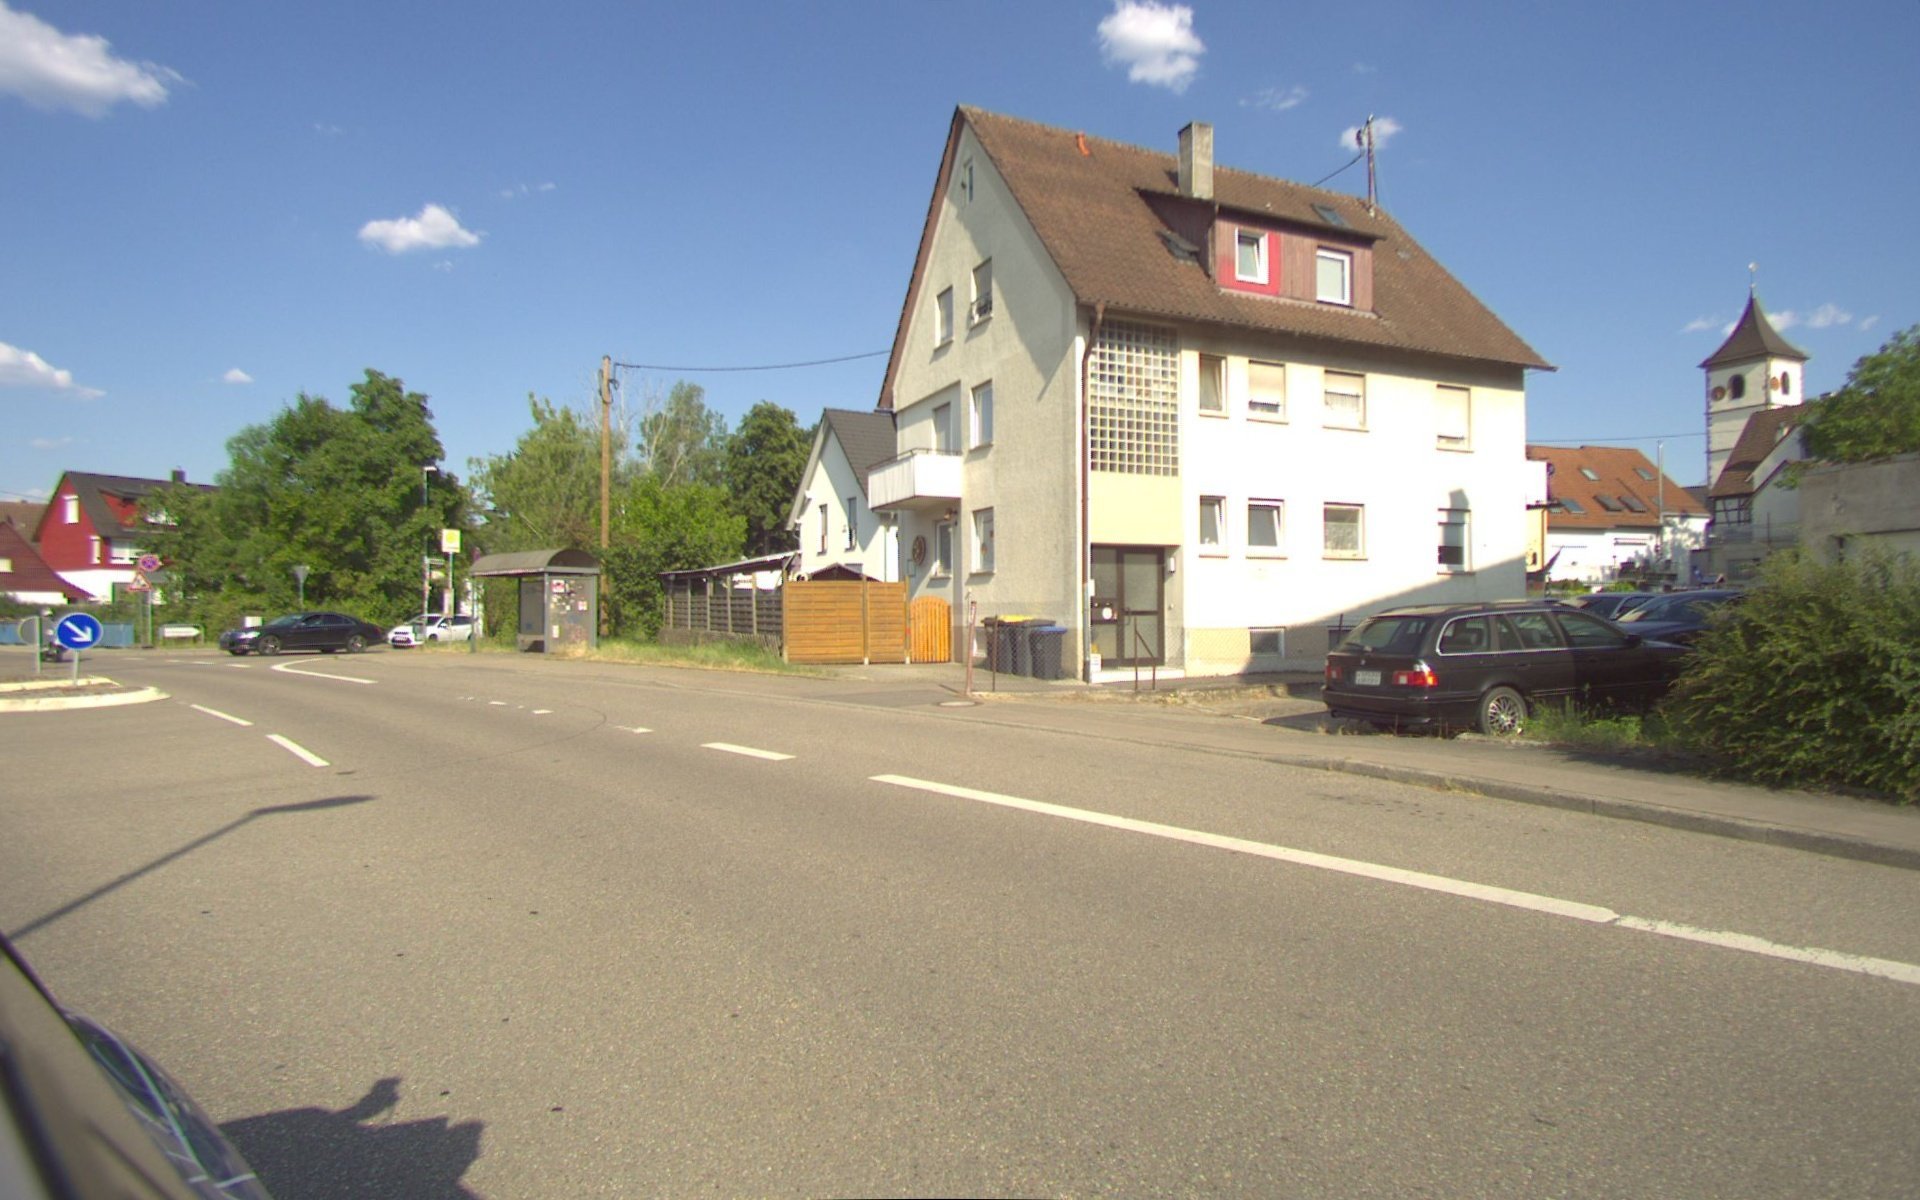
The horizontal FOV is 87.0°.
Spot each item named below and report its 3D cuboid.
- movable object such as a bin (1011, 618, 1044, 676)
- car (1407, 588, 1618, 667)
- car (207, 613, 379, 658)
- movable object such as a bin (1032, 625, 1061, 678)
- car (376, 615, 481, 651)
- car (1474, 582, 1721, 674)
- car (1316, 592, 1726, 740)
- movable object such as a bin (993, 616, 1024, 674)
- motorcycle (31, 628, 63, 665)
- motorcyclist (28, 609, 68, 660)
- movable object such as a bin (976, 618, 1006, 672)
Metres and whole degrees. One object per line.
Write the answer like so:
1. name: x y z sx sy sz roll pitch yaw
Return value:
1. movable object such as a bin: 1.243 0.860 18.619 0.356 1.031 0.579 0 0 -27
2. car: 11.230 0.529 20.572 3.931 1.397 1.554 -2 -1 -21
3. car: -22.979 1.191 35.105 1.761 1.442 4.804 0 -1 25
4. movable object such as a bin: 1.546 0.916 18.172 0.356 0.932 0.401 0 0 -27
5. car: -22.928 1.389 43.839 1.841 1.503 4.262 0 -1 10
6. car: 11.448 0.463 18.186 3.931 1.424 1.692 -2 -1 -21
7. car: 6.181 0.655 11.252 3.932 1.444 1.658 0 -1 -16
8. movable object such as a bin: 0.913 0.844 19.150 0.356 1.049 0.560 0 0 -27
9. motorcycle: -26.956 1.352 29.867 2.028 1.020 0.519 -1 1 44
10. motorcyclist: -27.020 1.003 29.969 1.037 1.447 0.793 -2 0 44
11. movable object such as a bin: 0.609 0.869 19.800 0.356 1.023 0.560 0 0 -27
